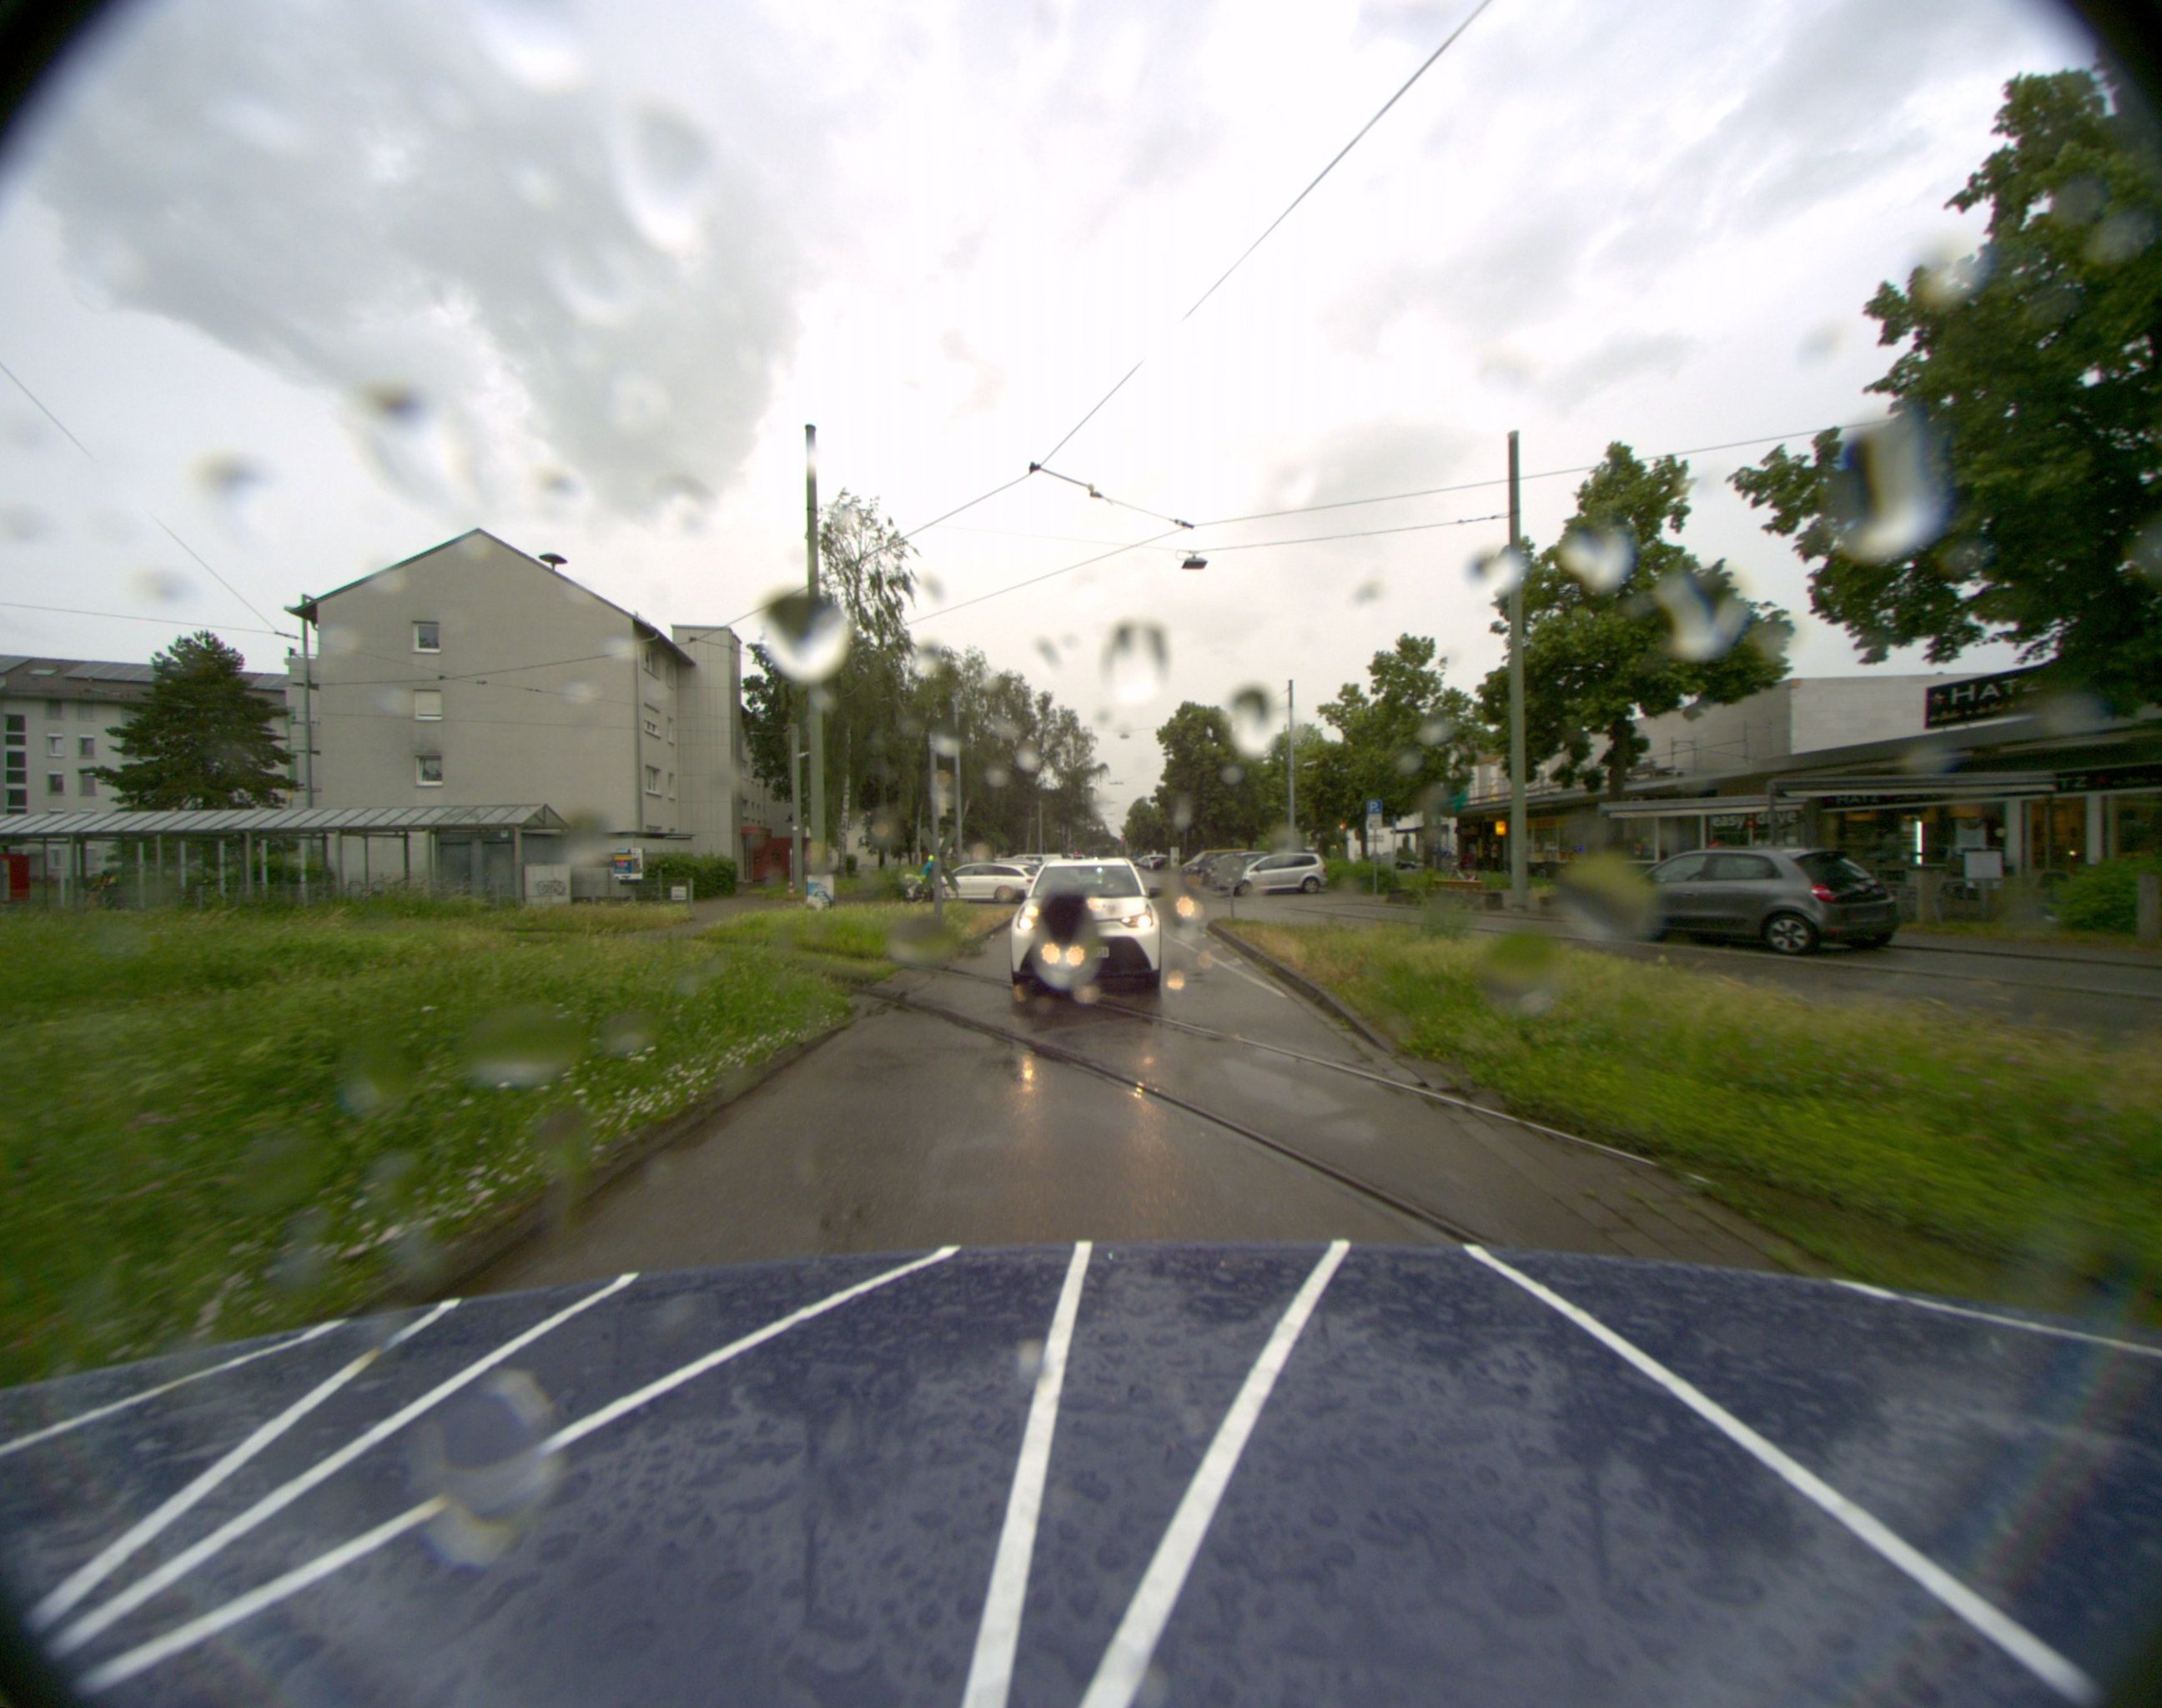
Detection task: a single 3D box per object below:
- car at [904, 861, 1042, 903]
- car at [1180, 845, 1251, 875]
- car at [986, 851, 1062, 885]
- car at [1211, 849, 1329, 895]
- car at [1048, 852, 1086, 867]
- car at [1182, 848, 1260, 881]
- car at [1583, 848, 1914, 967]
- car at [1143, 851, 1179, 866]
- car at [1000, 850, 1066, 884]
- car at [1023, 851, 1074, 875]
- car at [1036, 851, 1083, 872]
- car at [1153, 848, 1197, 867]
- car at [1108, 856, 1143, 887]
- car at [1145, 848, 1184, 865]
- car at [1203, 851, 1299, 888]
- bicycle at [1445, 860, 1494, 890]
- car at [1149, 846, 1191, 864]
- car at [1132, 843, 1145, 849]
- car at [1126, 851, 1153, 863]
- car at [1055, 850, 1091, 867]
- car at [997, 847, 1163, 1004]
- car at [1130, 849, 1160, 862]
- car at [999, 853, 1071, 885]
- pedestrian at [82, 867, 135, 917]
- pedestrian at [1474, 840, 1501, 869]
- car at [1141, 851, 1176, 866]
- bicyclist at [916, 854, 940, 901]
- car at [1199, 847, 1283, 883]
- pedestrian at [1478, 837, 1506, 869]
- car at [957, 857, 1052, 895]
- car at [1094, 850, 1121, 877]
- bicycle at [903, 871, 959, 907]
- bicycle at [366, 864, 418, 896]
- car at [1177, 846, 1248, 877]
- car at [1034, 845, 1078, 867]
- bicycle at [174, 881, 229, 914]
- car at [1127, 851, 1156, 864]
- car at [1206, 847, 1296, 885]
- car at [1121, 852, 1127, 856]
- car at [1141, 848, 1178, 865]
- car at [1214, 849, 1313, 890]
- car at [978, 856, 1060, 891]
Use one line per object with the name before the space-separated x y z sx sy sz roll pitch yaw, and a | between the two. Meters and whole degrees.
car | -3.980 1.029 28.620 4.837 1.449 2.000 1 0 3
car | 9.332 0.413 52.808 4.545 1.931 1.899 -2 0 1
car | -3.496 0.869 47.317 4.441 1.835 1.723 -3 1 3
car | 7.685 0.709 31.231 4.334 1.664 2.000 -2 0 1
car | -1.705 0.674 93.685 4.545 1.574 1.899 -2 0 1
car | 8.040 0.607 43.931 4.088 1.699 1.899 -2 0 1
car | 10.192 0.726 11.972 1.553 1.494 3.618 -3 0 -16
car | 10.675 0.603 101.820 4.545 1.931 1.899 -2 0 1
car | -3.282 0.870 52.648 4.442 2.050 1.722 -3 1 -1
car | -2.972 0.812 69.699 4.545 1.931 1.899 -2 0 1
car | -2.112 0.749 75.042 4.545 1.931 1.899 -2 0 1
car | 10.367 0.352 83.978 4.545 1.931 1.899 -2 0 1
car | 2.690 1.006 45.730 1.961 1.544 4.000 -2 2 4
car | 10.341 0.334 94.340 4.545 1.931 1.899 -2 0 1
car | 8.013 0.724 36.177 4.088 1.562 2.000 -2 0 1
bicycle | 14.337 0.745 28.097 0.594 1.066 1.748 0 0 -16
car | 10.356 0.153 88.475 4.545 1.931 1.899 -2 0 1
car | 19.304 -2.626 255.805 3.996 1.688 2.000 -3 0 2
car | 10.241 0.541 132.606 4.545 1.931 1.899 -2 0 1
car | -1.050 0.635 99.802 4.545 2.013 1.899 -2 0 1
car | 0.098 0.814 9.902 1.719 1.613 3.717 -2 -2 4
car | 10.263 0.255 121.838 4.545 1.931 1.899 -2 0 1
car | -2.945 0.949 49.708 4.441 1.835 1.723 -3 1 3
pedestrian | -31.860 1.231 24.904 0.636 1.563 0.789 -3 1 1
pedestrian | 22.150 0.013 41.458 1.078 1.575 0.949 -1 1 13
car | 10.634 0.599 104.432 4.545 1.931 1.899 -2 0 1
bicyclist | -5.144 0.786 25.524 0.699 1.507 0.724 -2 0 -17
car | 8.556 0.584 40.898 4.088 1.699 1.899 -2 0 1
pedestrian | 21.787 -0.065 40.284 1.078 1.704 0.949 -1 1 13
car | -3.452 0.981 34.678 3.996 1.477 1.723 -3 0 3
car | 2.061 0.742 60.906 1.998 2.002 4.000 -3 0 1
bicycle | -5.038 1.165 25.557 1.755 1.123 0.727 -1 -1 -17
bicycle | -21.777 0.818 24.036 0.377 0.950 1.238 -3 0 5
car | 8.550 0.485 49.651 4.302 1.799 1.899 -2 0 1
car | -2.571 0.189 79.304 4.442 2.050 1.722 -3 1 -1
bicycle | -28.068 1.377 24.266 0.418 0.942 1.306 -3 0 -14
car | 9.956 0.578 124.335 4.545 1.931 1.899 -2 0 1
car | 8.566 0.594 38.472 4.088 1.699 1.899 -2 0 1
car | 14.201 -0.004 252.301 1.998 1.320 4.000 -3 0 2
car | 10.064 0.338 97.516 4.545 1.931 1.899 -2 0 1
car | 8.095 0.678 33.989 3.944 1.664 1.794 -2 0 1
car | -3.187 1.017 39.761 3.996 1.576 1.723 -3 0 3
